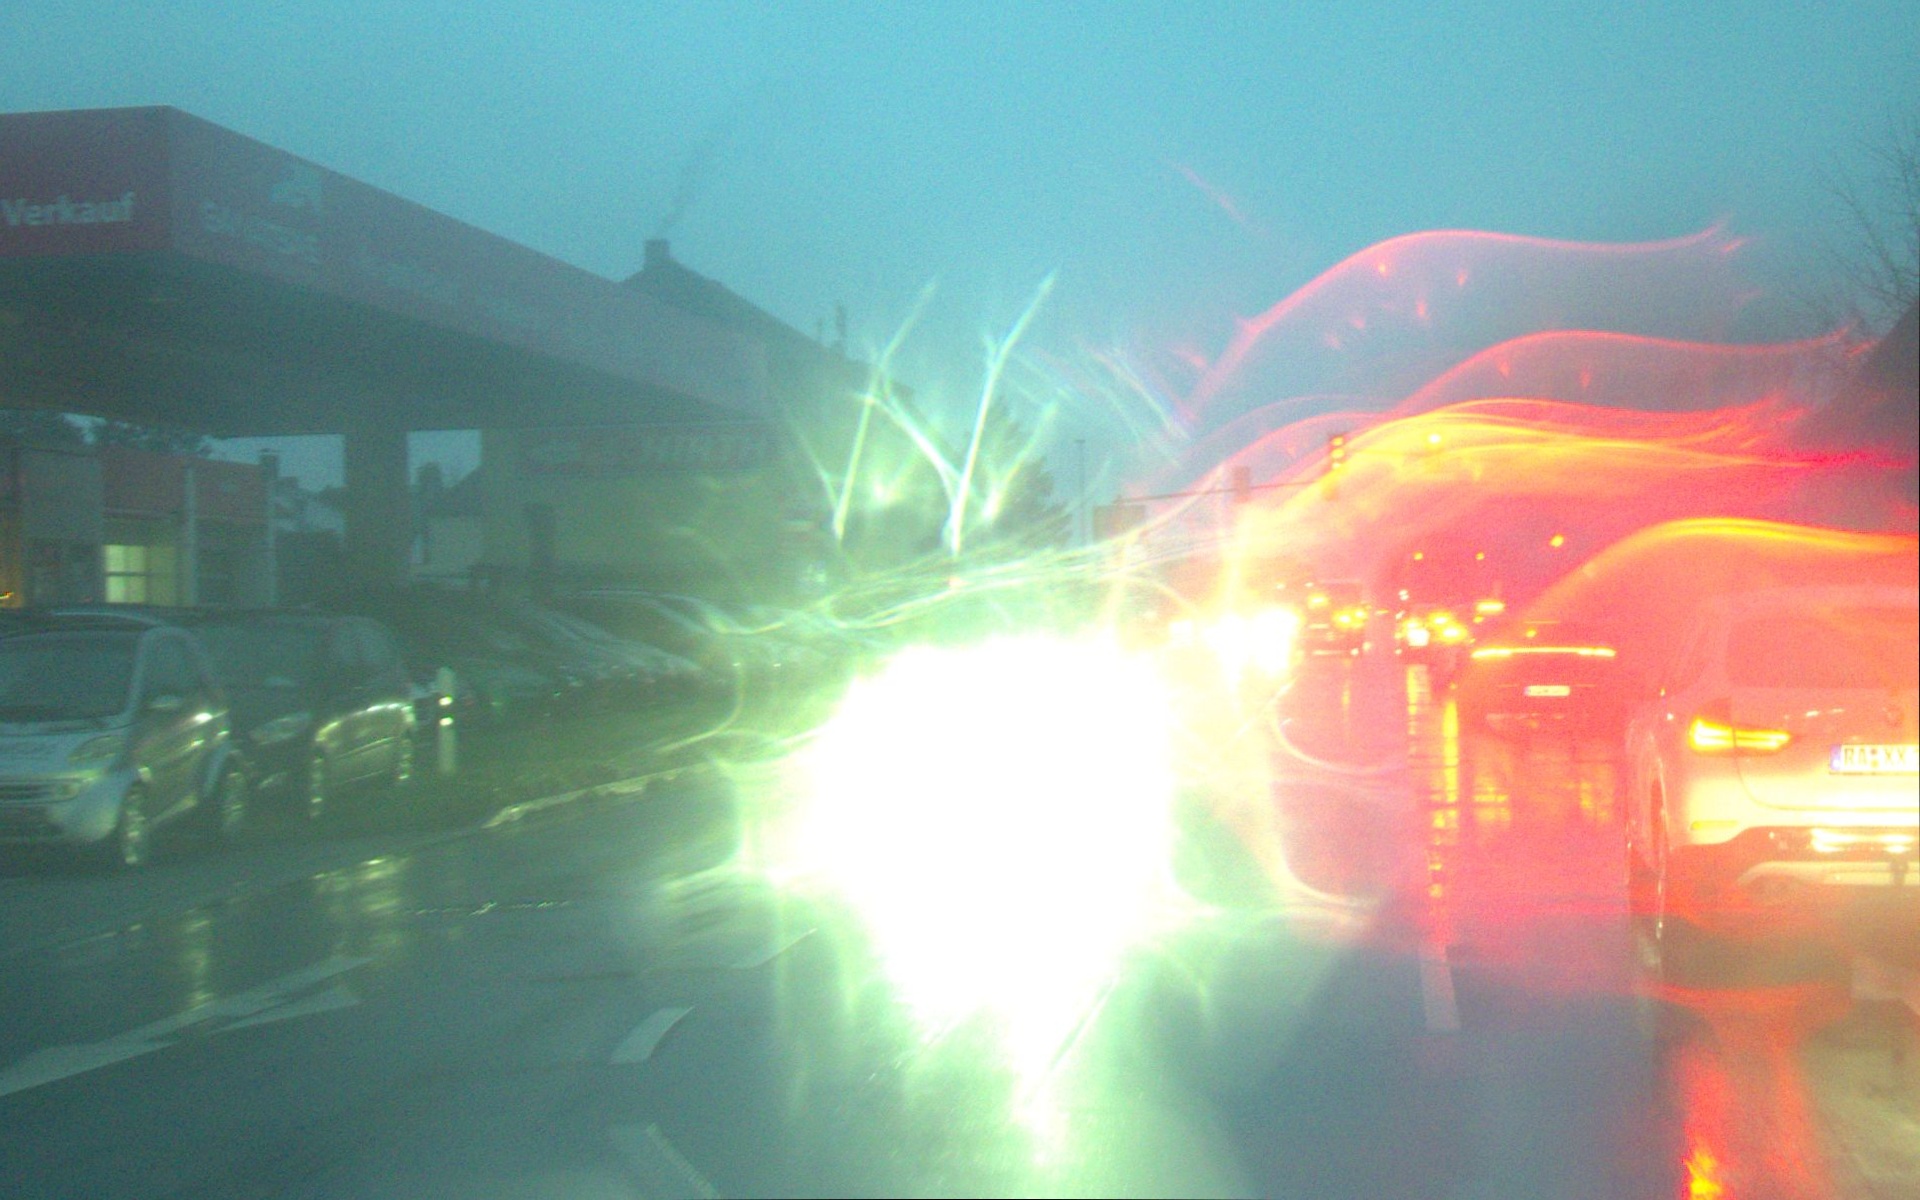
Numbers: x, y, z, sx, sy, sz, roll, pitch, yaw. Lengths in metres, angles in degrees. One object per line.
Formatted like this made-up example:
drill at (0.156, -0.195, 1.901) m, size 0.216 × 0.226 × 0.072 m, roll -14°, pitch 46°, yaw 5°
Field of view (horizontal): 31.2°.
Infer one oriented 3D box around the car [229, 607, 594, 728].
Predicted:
car at (-6.404, 0.778, 40.366) m, size 3.859 × 1.341 × 1.839 m, roll -1°, pitch 0°, yaw 6°

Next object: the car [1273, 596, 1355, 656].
car at (9.735, 0.710, 94.751) m, size 2.047 × 1.567 × 4.702 m, roll -2°, pitch 0°, yaw 4°

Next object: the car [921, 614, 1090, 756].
car at (0.596, 0.986, 41.425) m, size 1.603 × 1.529 × 3.999 m, roll -3°, pitch 0°, yaw 6°

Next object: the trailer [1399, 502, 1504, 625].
trailer at (13.605, -0.942, 95.811) m, size 2.488 × 3.230 × 10.866 m, roll 0°, pitch 0°, yaw 6°

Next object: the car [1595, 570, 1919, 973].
car at (3.903, 0.658, 15.650) m, size 1.708 × 1.570 × 4.463 m, roll -1°, pitch 0°, yaw 7°

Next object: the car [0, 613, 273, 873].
car at (-5.756, 0.898, 22.622) m, size 1.518 × 1.538 × 3.014 m, roll -2°, pitch 0°, yaw 6°

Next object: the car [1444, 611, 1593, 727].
car at (6.904, 0.822, 42.812) m, size 1.641 × 1.362 × 4.767 m, roll -1°, pitch 0°, yaw 7°

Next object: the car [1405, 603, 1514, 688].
car at (8.204, 0.728, 56.690) m, size 1.654 × 1.331 × 4.271 m, roll -1°, pitch 0°, yaw 7°

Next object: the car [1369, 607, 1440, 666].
car at (10.942, 0.886, 84.887) m, size 1.663 × 1.434 × 4.380 m, roll 0°, pitch 0°, yaw 6°

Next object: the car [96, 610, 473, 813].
car at (-5.133, 0.814, 26.609) m, size 1.683 × 1.416 × 3.739 m, roll -1°, pitch 0°, yaw 8°

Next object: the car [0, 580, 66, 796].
car at (-9.283, 0.703, 26.729) m, size 4.048 × 1.644 × 1.941 m, roll -1°, pitch 0°, yaw 9°

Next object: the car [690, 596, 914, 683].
car at (-3.209, 0.793, 70.433) m, size 4.278 × 1.622 × 1.999 m, roll 2°, pitch 0°, yaw 7°

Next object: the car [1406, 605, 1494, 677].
car at (10.954, 0.896, 77.112) m, size 1.836 × 1.563 × 4.502 m, roll 0°, pitch 0°, yaw 7°

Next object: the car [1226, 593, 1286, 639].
car at (11.891, 0.627, 137.999) m, size 1.994 × 1.741 × 3.998 m, roll -2°, pitch 0°, yaw 10°

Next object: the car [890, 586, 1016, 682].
car at (-0.103, 0.665, 70.366) m, size 1.971 × 1.824 × 4.511 m, roll -2°, pitch 0°, yaw 7°

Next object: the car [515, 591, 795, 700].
car at (-5.043, 0.731, 57.147) m, size 4.278 × 1.657 × 1.999 m, roll 2°, pitch 0°, yaw 7°
